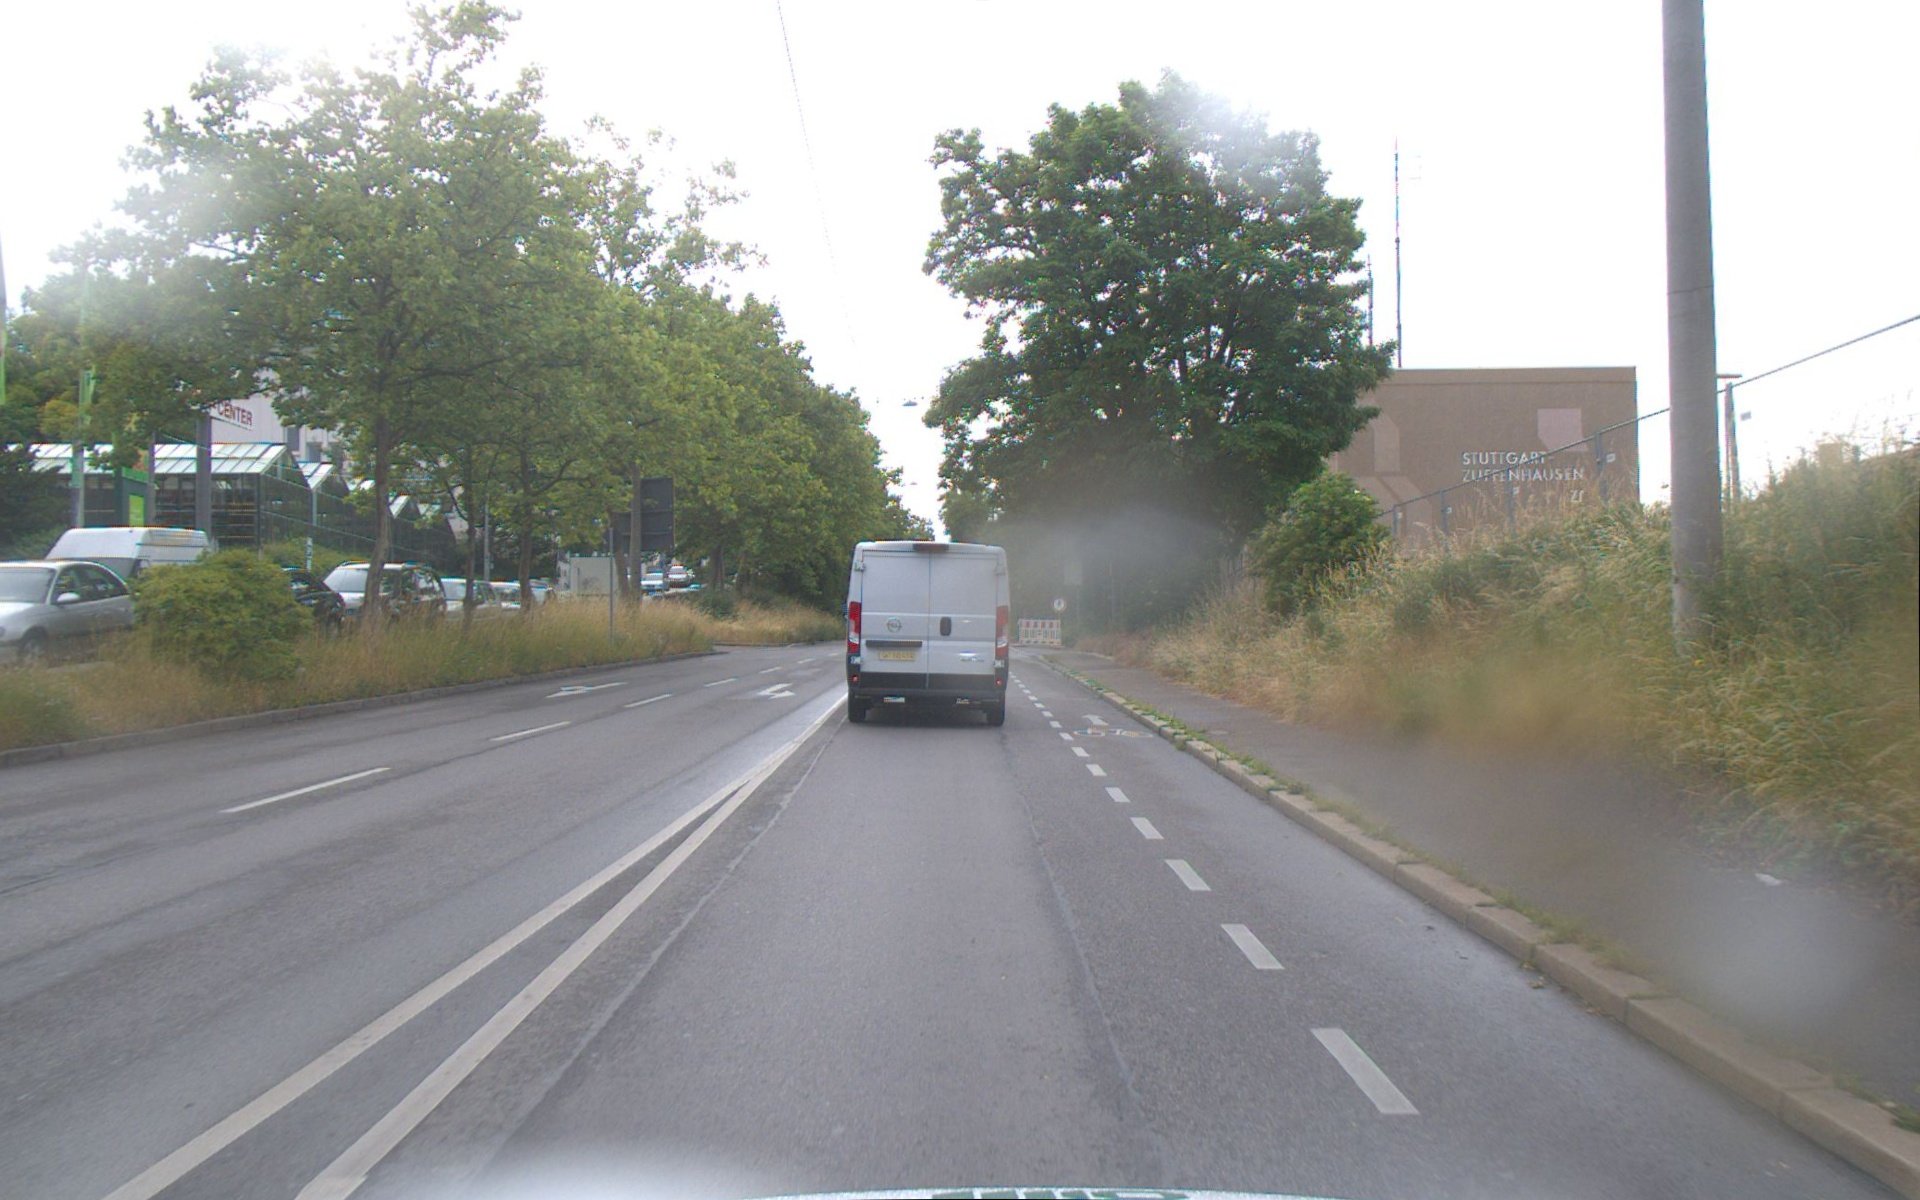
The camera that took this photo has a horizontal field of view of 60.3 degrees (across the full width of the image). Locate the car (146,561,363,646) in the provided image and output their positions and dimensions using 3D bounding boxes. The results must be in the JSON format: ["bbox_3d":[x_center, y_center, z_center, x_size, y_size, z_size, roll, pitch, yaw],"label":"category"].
[{"bbox_3d":[-11.115,0.049,26.368,1.663,1.226,4.218,-1,0,0],"label":"car"}]

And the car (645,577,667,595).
[{"bbox_3d":[-21.707,-1.025,118.216,1.189,1.153,2.451,-1,-2,-1],"label":"car"}]

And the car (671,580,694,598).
[{"bbox_3d":[-22.543,-0.866,134.484,1.568,1.272,2.908,-1,-2,-4],"label":"car"}]

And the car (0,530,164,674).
[{"bbox_3d":[-11.290,0.008,19.930,1.560,1.567,3.990,-1,1,-2],"label":"car"}]

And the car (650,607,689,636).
[{"bbox_3d":[-12.462,0.955,70.953,1.323,1.151,2.750,-1,-2,-3],"label":"car"}]

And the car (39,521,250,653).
[{"bbox_3d":[-16.845,-0.288,34.539,1.924,2.486,5.651,-1,1,-5],"label":"car"}]

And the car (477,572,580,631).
[{"bbox_3d":[-11.101,0.074,42.797,1.506,1.316,4.543,-1,-2,0],"label":"car"}]

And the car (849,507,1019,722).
[{"bbox_3d":[-0.345,0.156,22.360,2.008,2.560,4.943,1,0,-1],"label":"car"}]

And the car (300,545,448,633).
[{"bbox_3d":[-11.109,-0.164,31.583,1.620,1.477,3.643,-1,-2,-2],"label":"car"}]

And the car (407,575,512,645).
[{"bbox_3d":[-11.126,0.260,36.958,1.333,1.419,3.706,-1,-2,-2],"label":"car"}]
